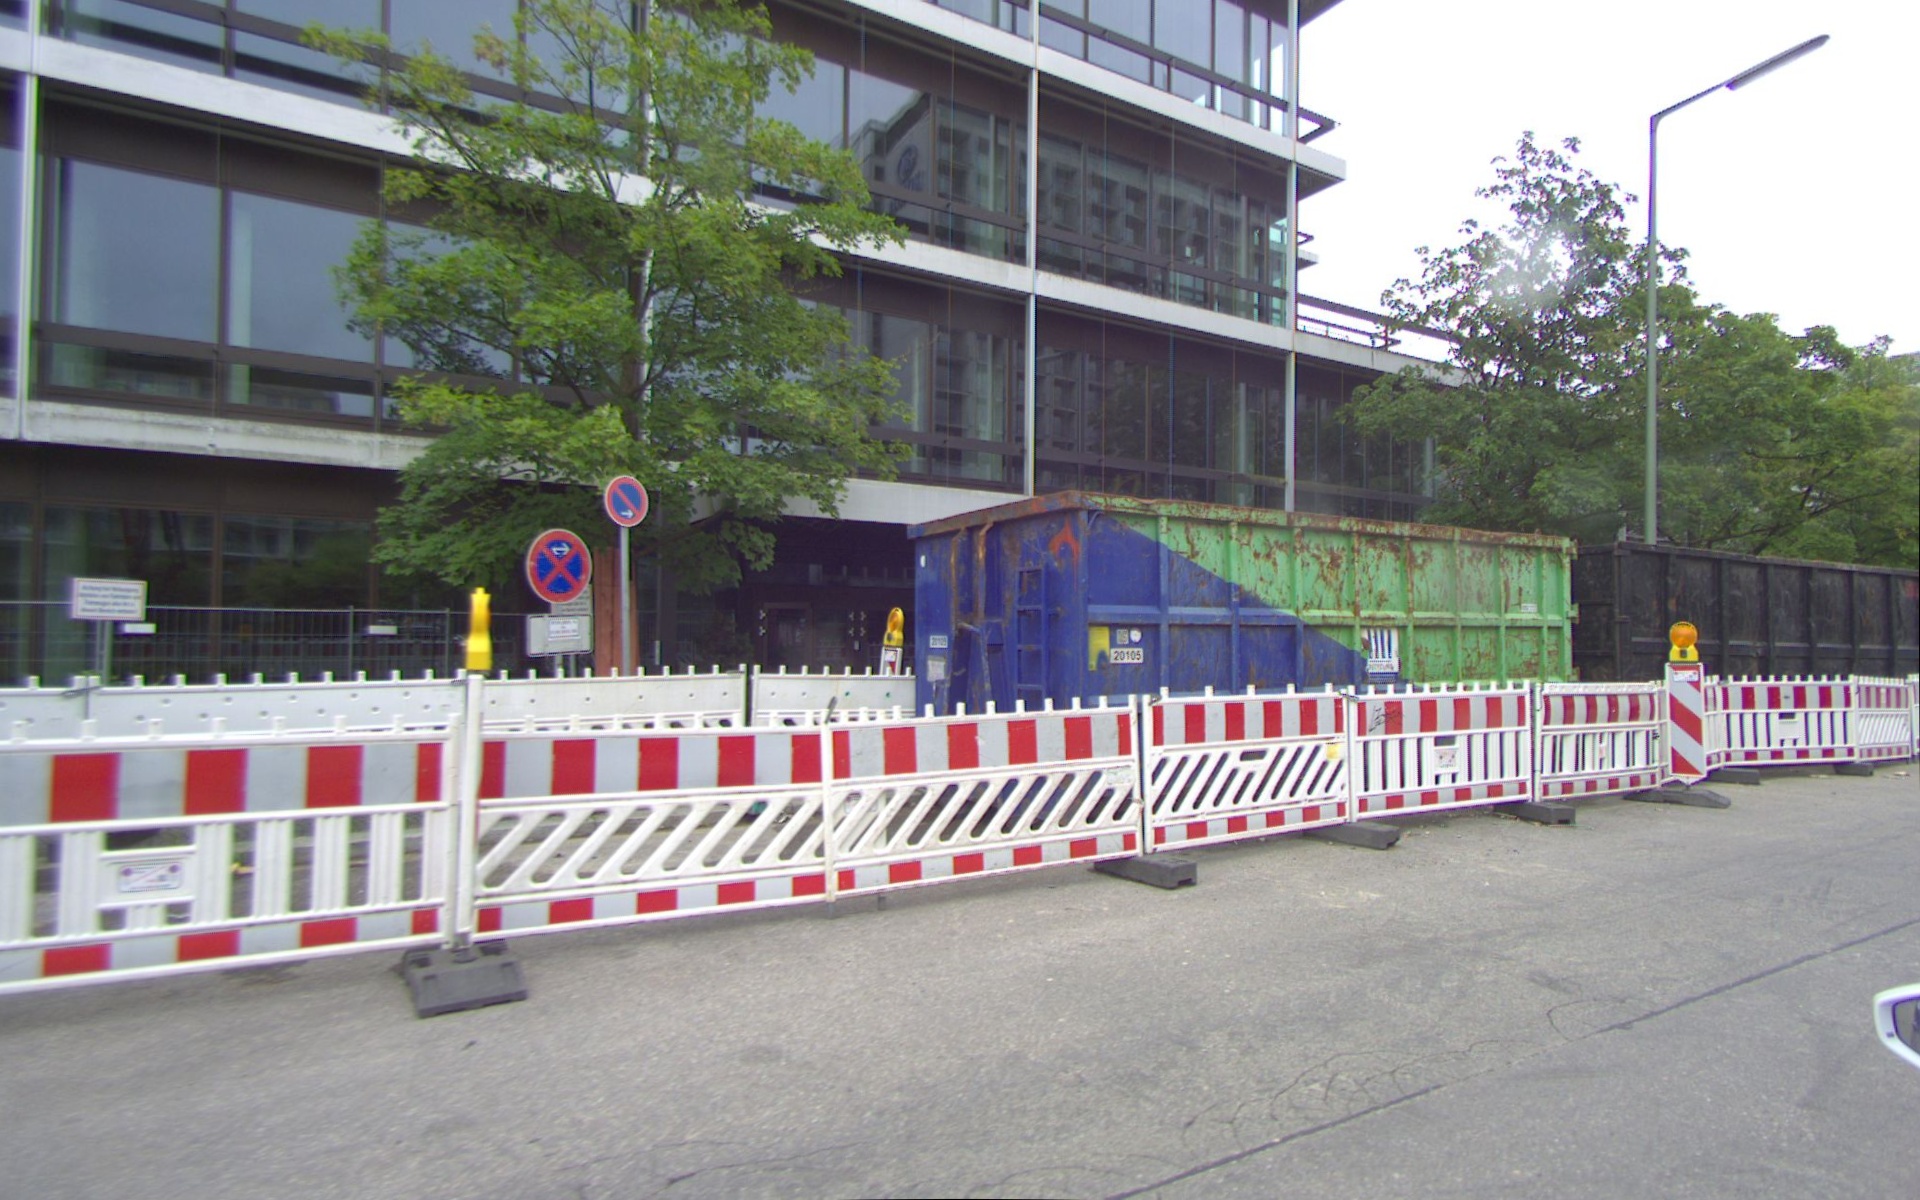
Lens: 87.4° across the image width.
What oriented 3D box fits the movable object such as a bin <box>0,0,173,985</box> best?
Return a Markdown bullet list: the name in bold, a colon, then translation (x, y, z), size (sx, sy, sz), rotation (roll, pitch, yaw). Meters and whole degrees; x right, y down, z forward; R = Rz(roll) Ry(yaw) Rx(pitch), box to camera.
- **movable object such as a bin**: translation (-9.577, -1.895, 2.405), size (11.648, 6.650, 2.890), rotation (2, -2, -31)
